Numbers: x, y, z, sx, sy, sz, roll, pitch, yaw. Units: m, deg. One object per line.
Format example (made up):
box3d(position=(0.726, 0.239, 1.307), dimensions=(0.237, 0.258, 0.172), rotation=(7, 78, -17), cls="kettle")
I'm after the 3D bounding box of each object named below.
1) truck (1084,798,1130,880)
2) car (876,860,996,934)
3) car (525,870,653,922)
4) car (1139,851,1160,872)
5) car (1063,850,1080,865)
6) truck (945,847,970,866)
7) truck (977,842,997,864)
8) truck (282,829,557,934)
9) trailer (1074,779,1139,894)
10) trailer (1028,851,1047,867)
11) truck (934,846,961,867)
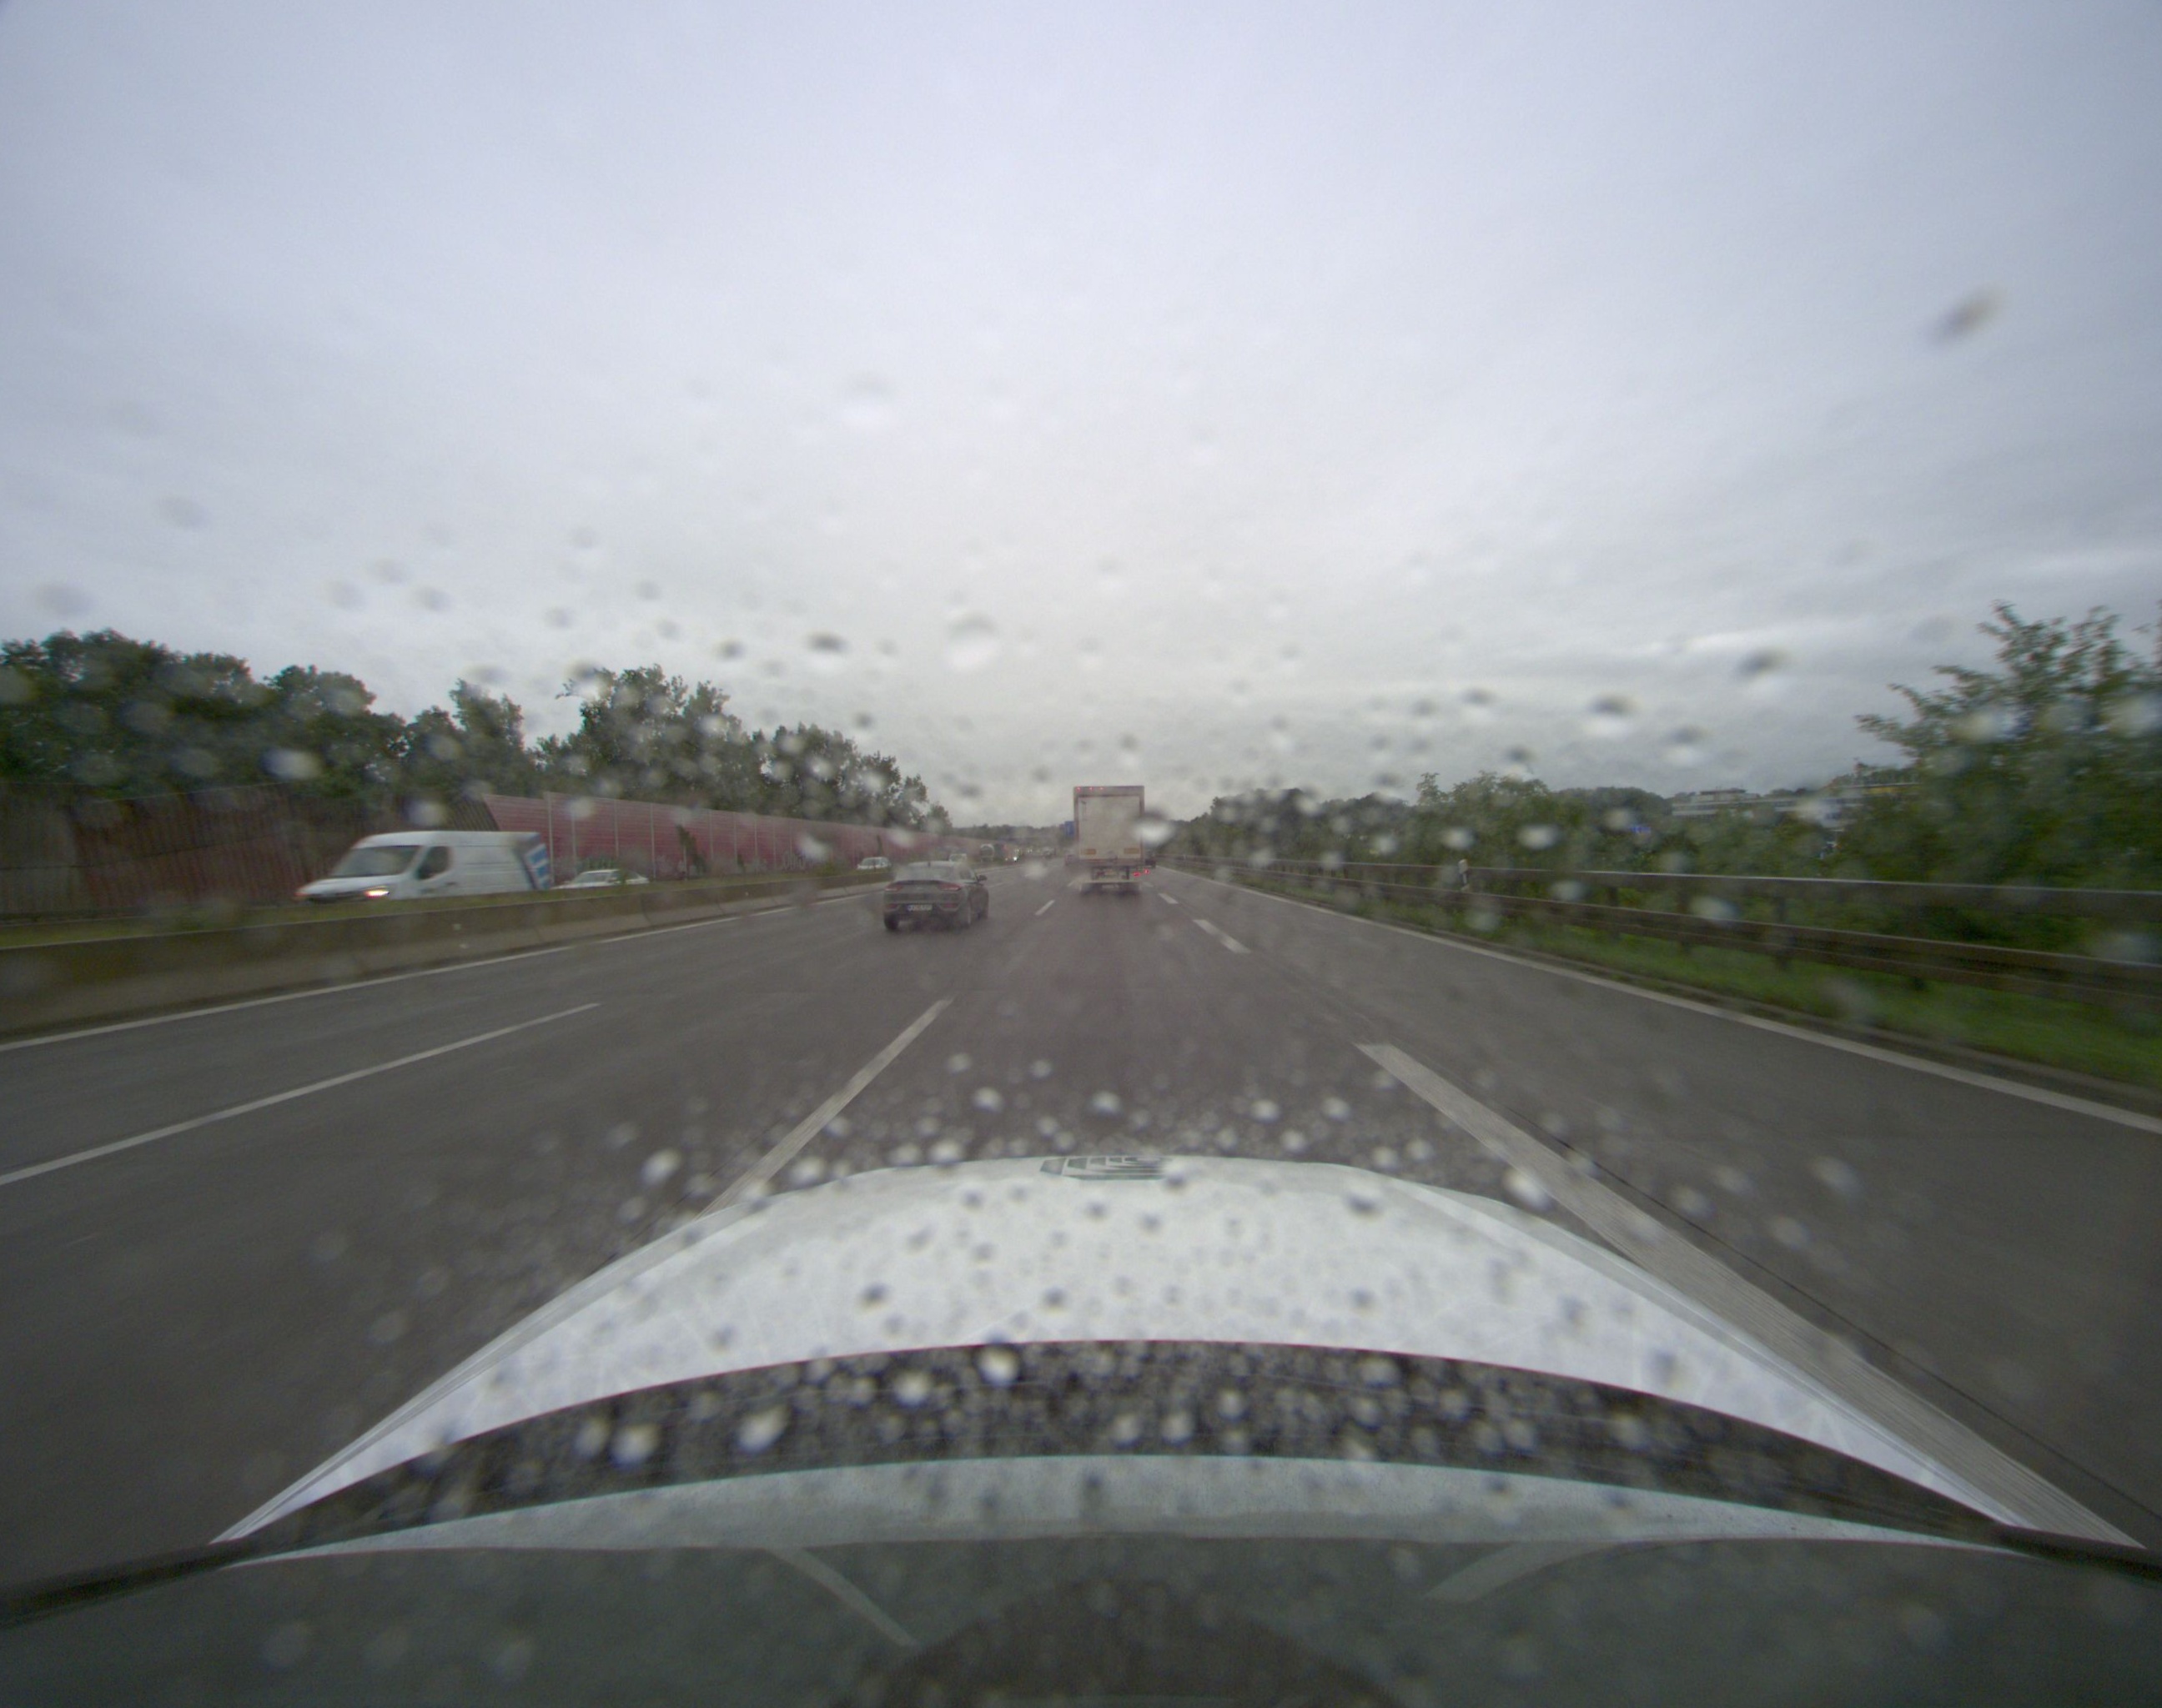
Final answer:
box3d(position=(1.417, -0.795, 44.684), dimensions=(2.334, 4.157, 6.349), rotation=(0, 0, 2), cls="truck")
box3d(position=(-3.144, 0.882, 18.626), dimensions=(1.719, 1.403, 4.830), rotation=(-1, 0, 2), cls="car")
box3d(position=(-18.598, 1.527, 31.083), dimensions=(1.986, 1.739, 4.469), rotation=(-1, 0, 2), cls="car")
box3d(position=(6.403, 0.695, 76.540), dimensions=(1.889, 1.949, 4.003), rotation=(0, 0, 3), cls="car")
box3d(position=(-1.080, 0.387, 97.141), dimensions=(1.887, 1.723, 4.002), rotation=(0, 0, 2), cls="car")
box3d(position=(-22.578, 0.382, 149.327), dimensions=(2.962, 3.350, 8.701), rotation=(0, 0, 1), cls="truck")
box3d(position=(-18.226, -0.223, 157.919), dimensions=(3.035, 4.027, 6.052), rotation=(0, 0, 1), cls="truck")
box3d(position=(-15.854, 0.589, 20.068), dimensions=(2.136, 2.205, 5.422), rotation=(-1, 0, 2), cls="truck")
box3d(position=(1.153, -0.705, 36.787), dimensions=(2.334, 4.157, 14.833), rotation=(0, 1, 2), cls="trailer")
box3d(position=(-4.894, 0.538, 91.976), dimensions=(1.808, 1.624, 4.570), rotation=(-1, 0, 2), cls="trailer")
box3d(position=(-22.762, 0.419, 139.775), dimensions=(2.703, 3.350, 10.434), rotation=(0, 0, 1), cls="truck")
